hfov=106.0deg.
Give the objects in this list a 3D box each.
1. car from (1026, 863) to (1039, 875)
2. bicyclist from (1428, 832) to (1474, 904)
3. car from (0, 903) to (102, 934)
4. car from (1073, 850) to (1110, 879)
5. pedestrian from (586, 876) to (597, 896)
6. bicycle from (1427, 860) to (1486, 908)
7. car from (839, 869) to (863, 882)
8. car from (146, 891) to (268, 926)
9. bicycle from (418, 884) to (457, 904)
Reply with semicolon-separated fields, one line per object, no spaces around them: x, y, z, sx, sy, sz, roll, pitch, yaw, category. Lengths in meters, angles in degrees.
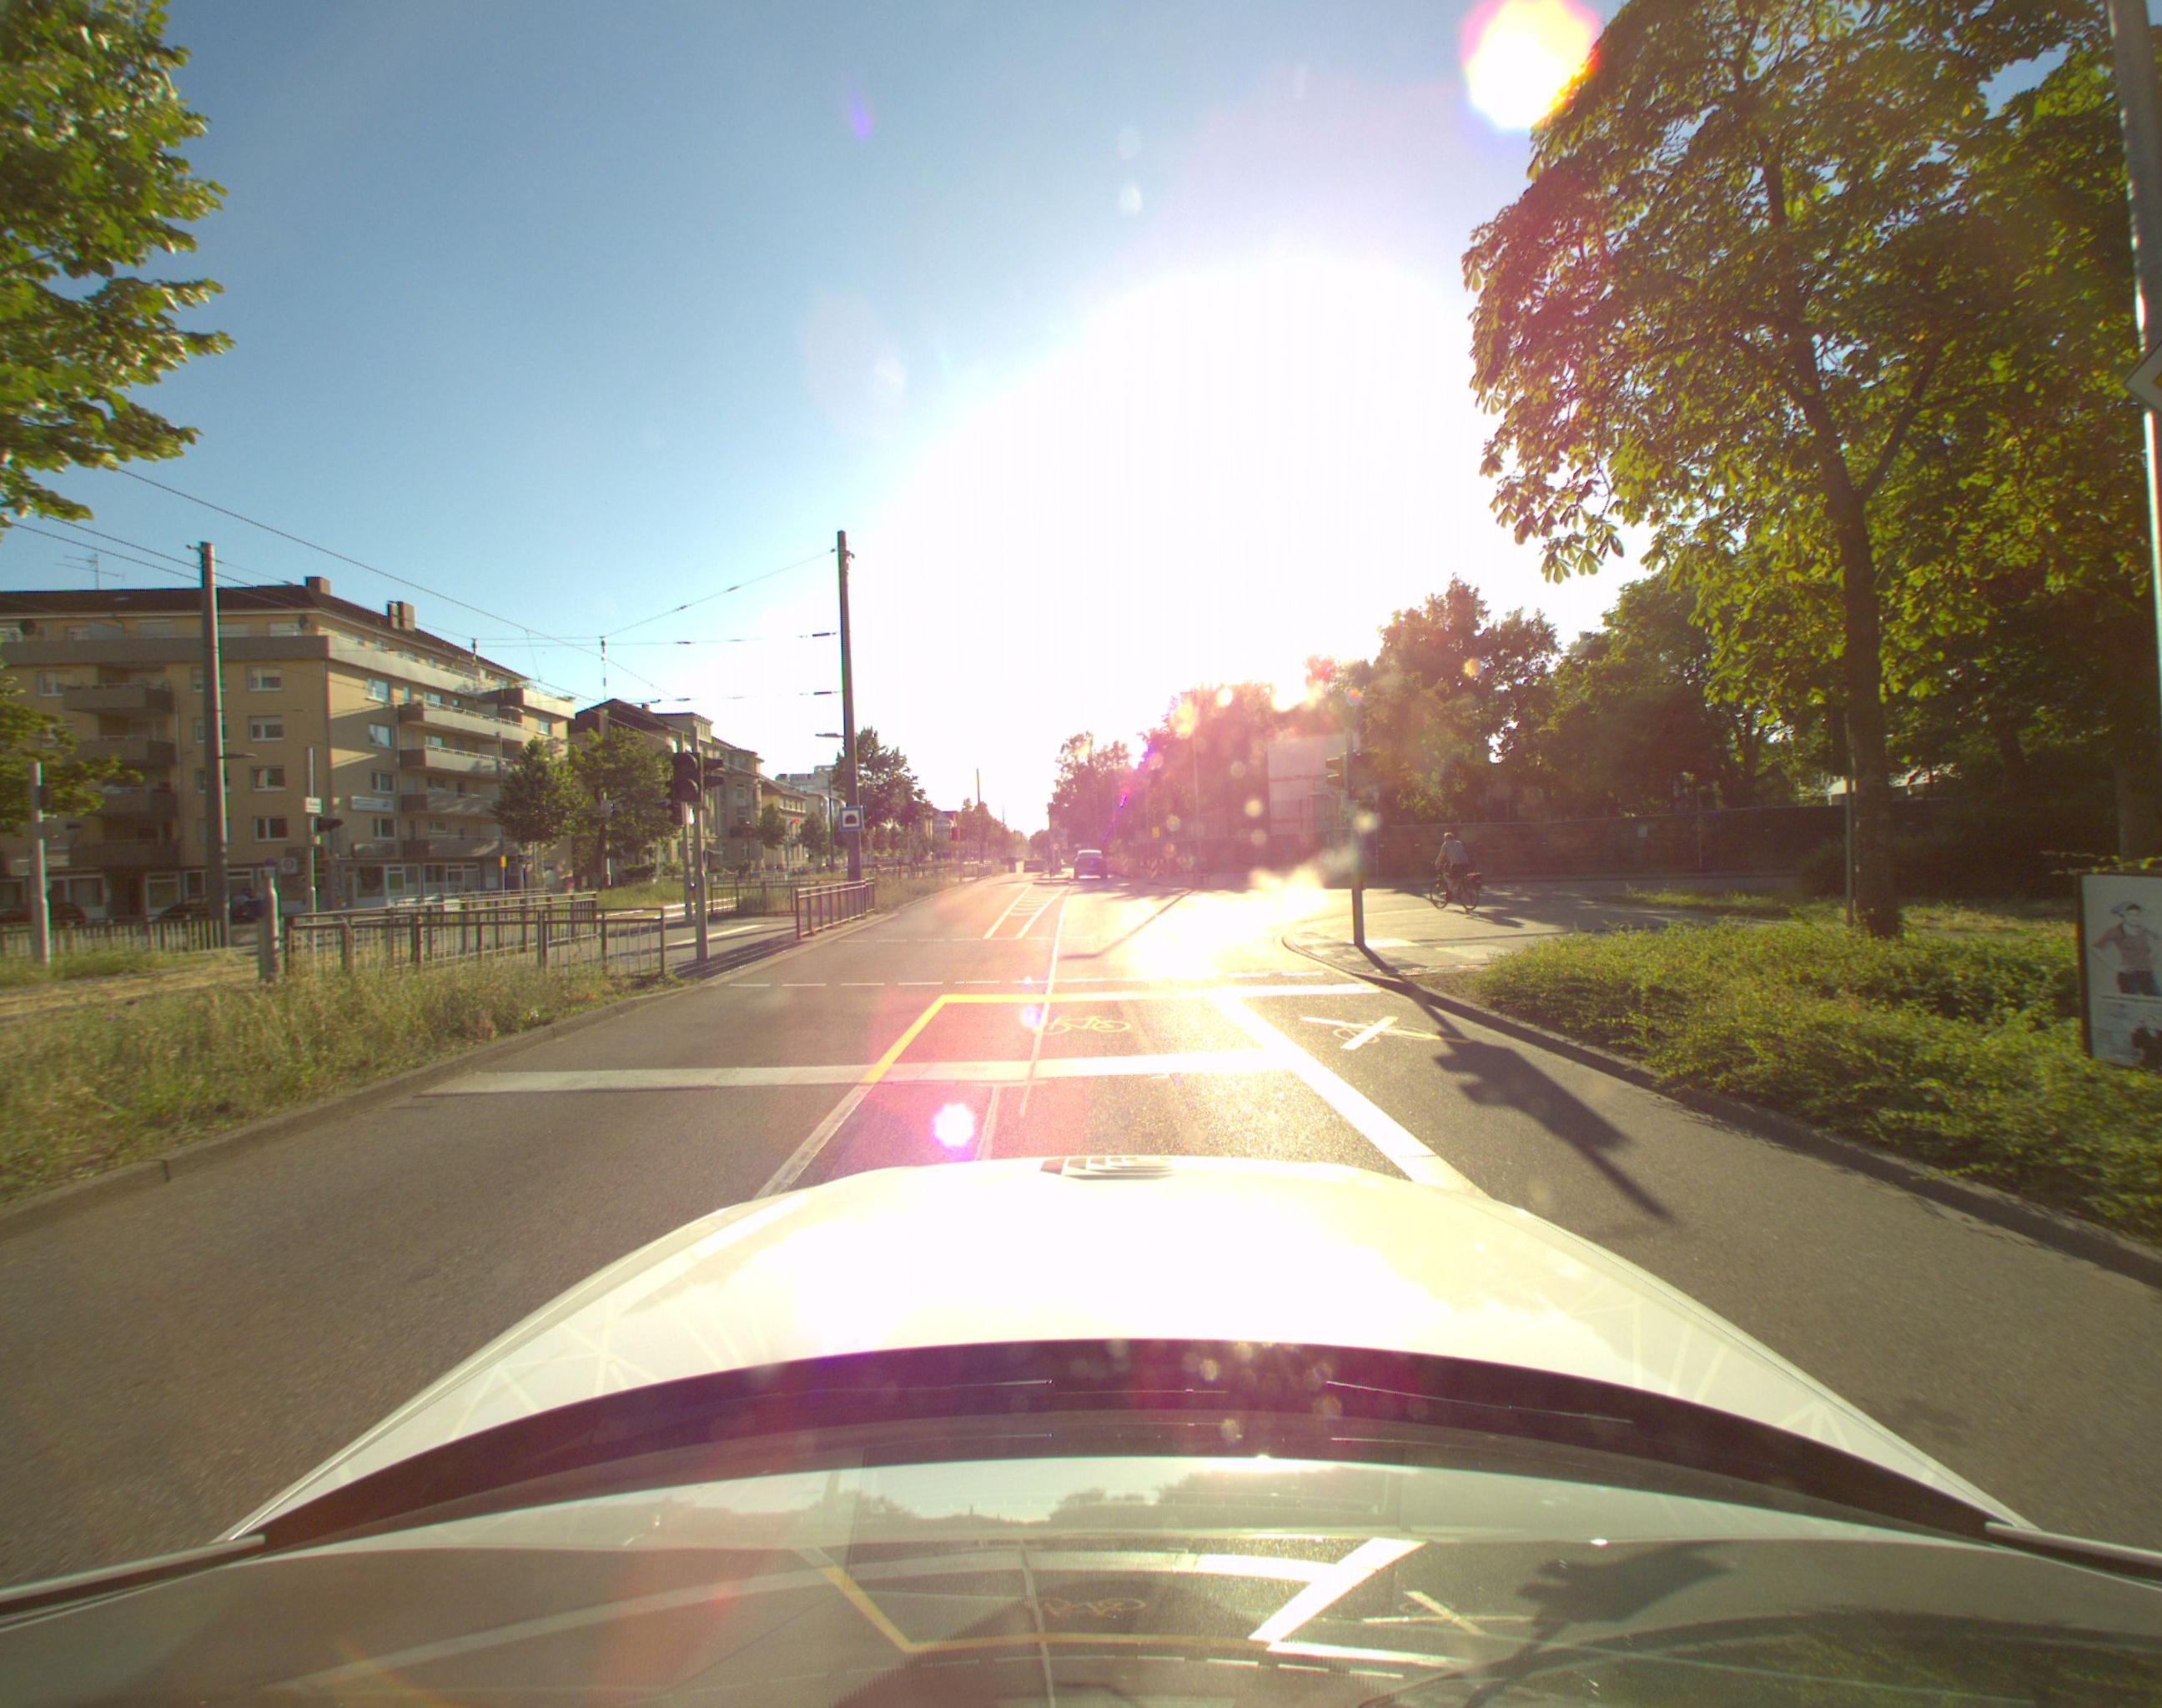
-6.808;2.107;114.796;1.822;1.659;3.996;0;-1;-2;car
8.708;0.321;19.182;0.582;1.614;0.902;-2;0;-3;bicyclist
-52.237;3.235;40.715;3.977;1.303;1.998;-2;0;-3;car
0.594;0.644;48.830;2.000;1.659;3.996;0;-1;-2;car
-38.299;2.523;63.739;0.518;1.555;0.448;-2;0;-4;pedestrian
8.806;0.680;19.157;0.426;1.061;1.910;-2;0;-1;bicycle
-28.074;2.572;99.678;1.772;1.463;4.657;-2;0;-3;car
-44.092;2.736;41.152;3.978;1.496;1.845;-2;0;-3;car
-42.034;2.619;53.215;0.529;1.137;2.584;-2;0;-2;bicycle
